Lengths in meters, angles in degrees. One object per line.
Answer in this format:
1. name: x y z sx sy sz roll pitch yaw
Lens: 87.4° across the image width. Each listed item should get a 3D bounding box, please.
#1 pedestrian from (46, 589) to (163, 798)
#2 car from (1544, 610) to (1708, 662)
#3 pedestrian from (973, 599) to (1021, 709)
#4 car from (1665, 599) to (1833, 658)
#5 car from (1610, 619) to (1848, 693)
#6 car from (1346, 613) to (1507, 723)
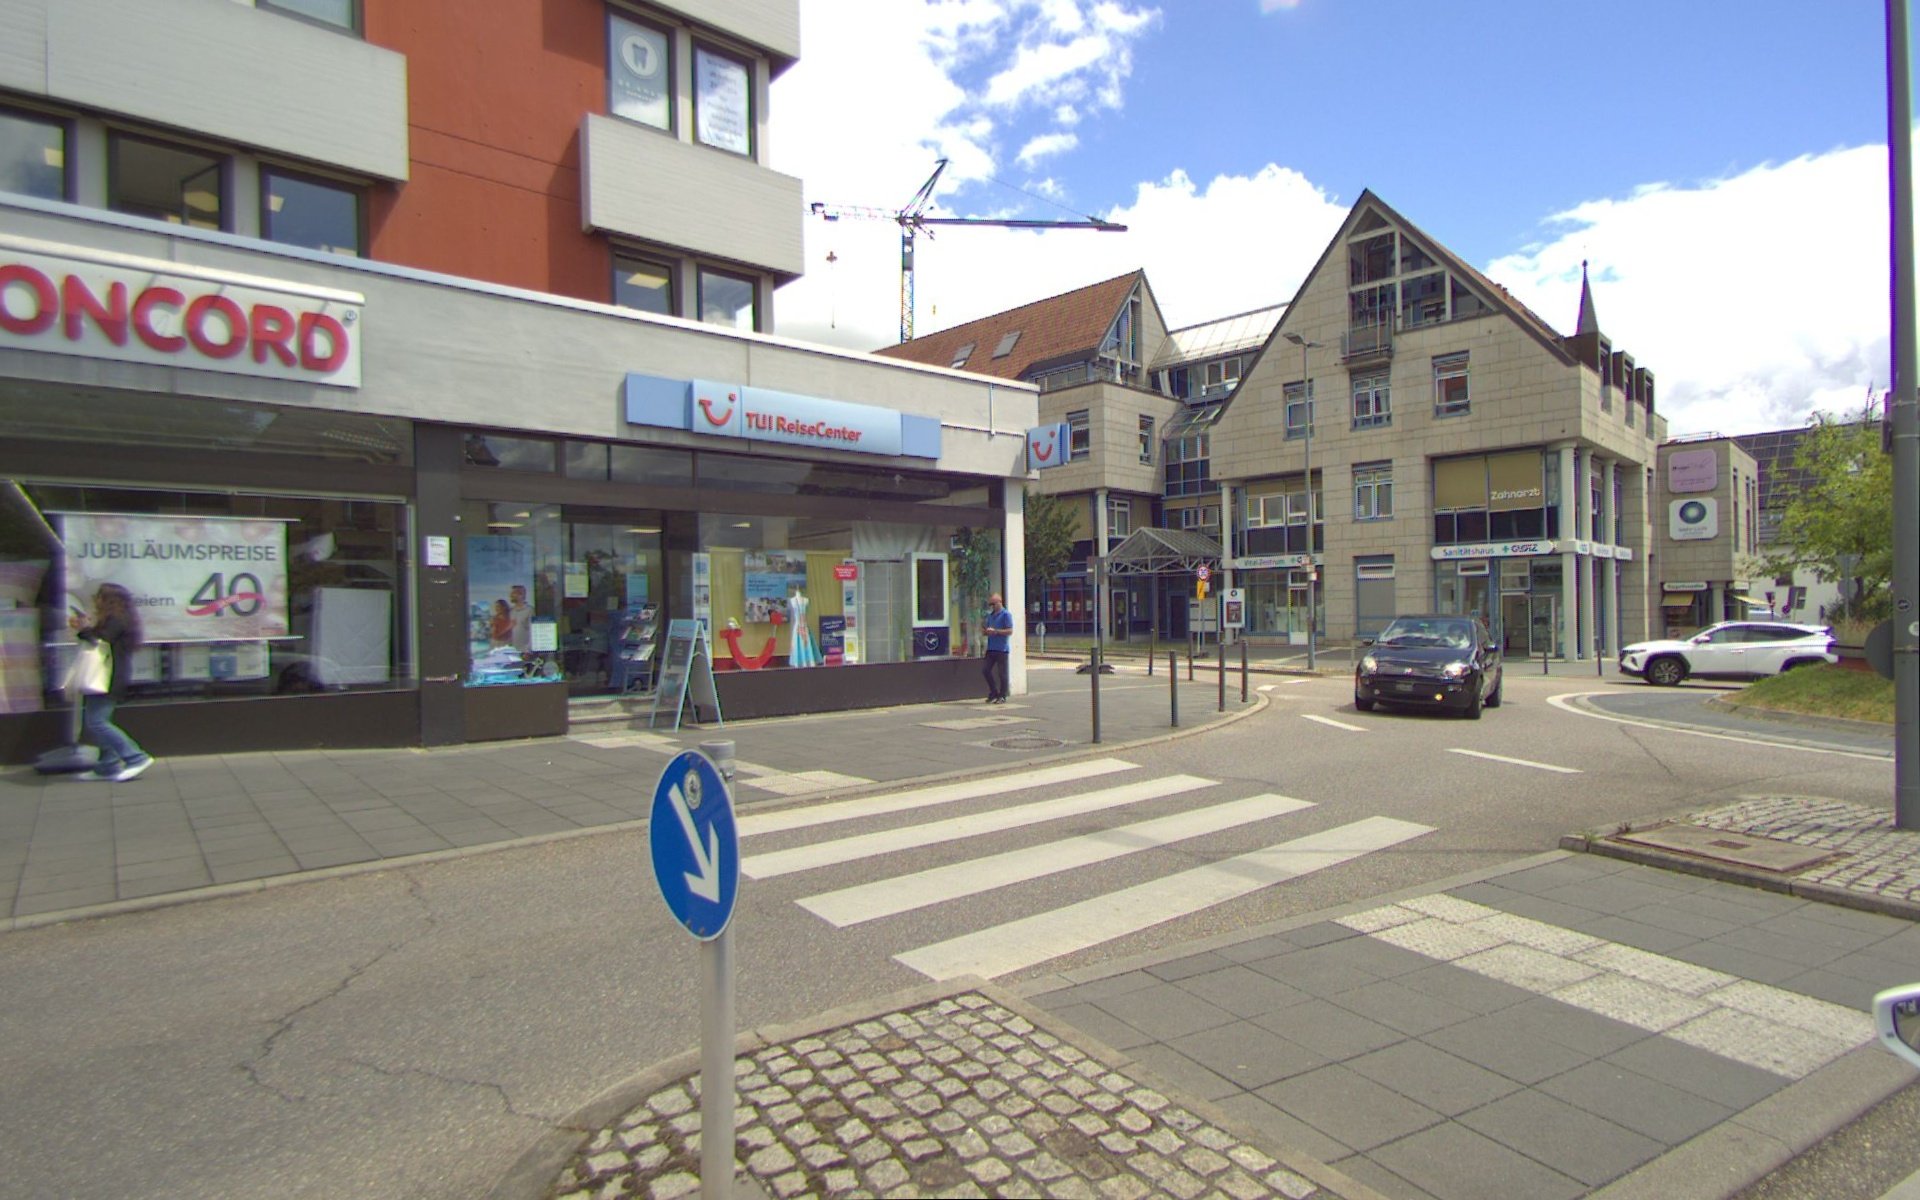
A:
1. pedestrian: -6.923 0.727 8.157 0.632 1.609 0.583 1 -1 -34
2. car: 21.994 1.213 33.367 1.823 1.597 4.246 0 -2 -23
3. pedestrian: 0.572 0.804 15.298 0.558 1.625 0.606 0 0 21
4. car: 38.512 1.382 49.289 6.193 2.593 2.203 2 -3 30
5. car: 18.622 1.320 24.593 4.292 1.601 1.863 1 -1 24
6. car: 7.356 0.960 15.622 1.675 1.438 4.107 1 -1 33
